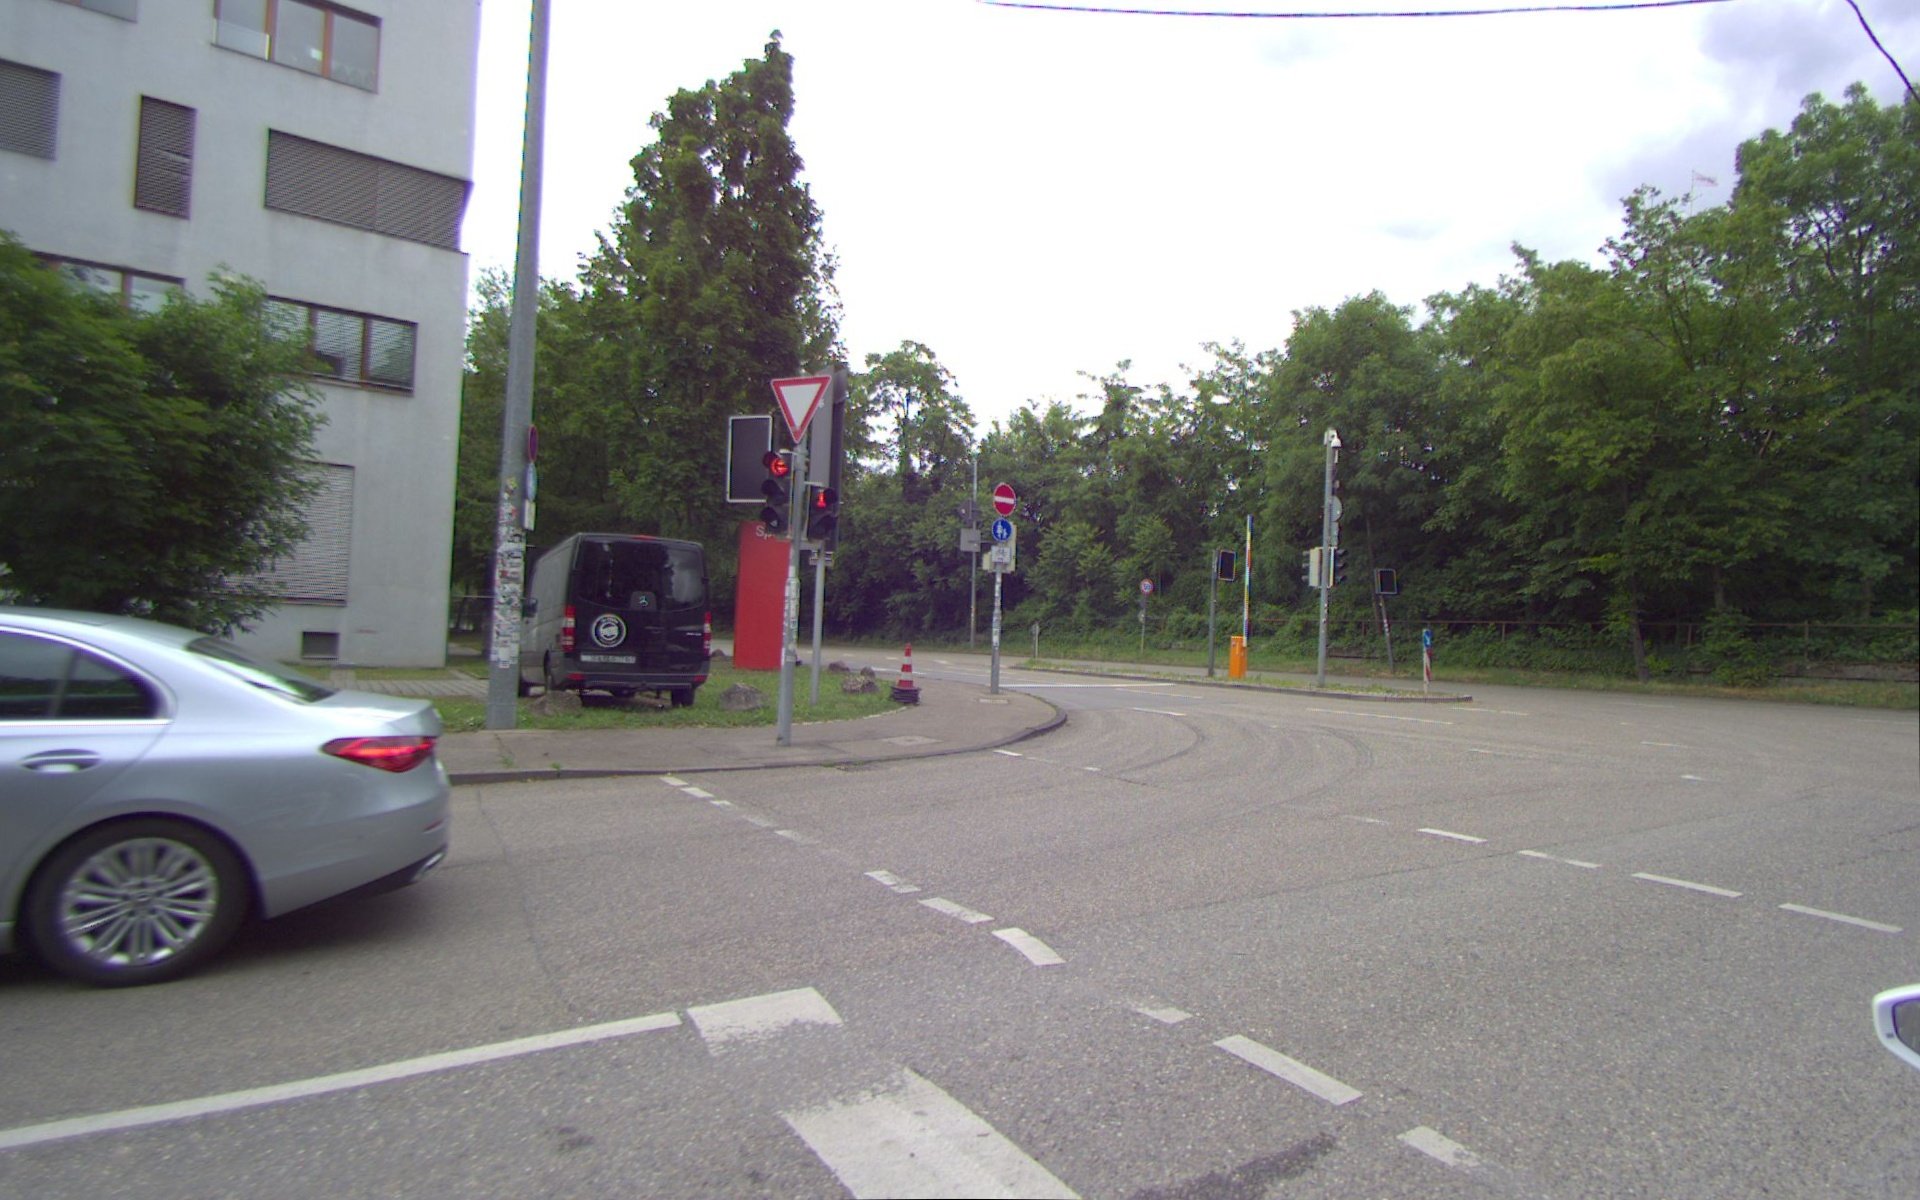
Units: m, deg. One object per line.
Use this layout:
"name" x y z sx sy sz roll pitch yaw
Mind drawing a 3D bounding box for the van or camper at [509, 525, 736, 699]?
"van or camper" -5.333 0.323 15.271 2.145 2.137 5.600 3 -4 -30

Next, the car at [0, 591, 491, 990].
"car" -4.328 0.662 4.030 4.317 1.416 1.690 3 -2 -29

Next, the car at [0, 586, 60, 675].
"car" -18.895 0.504 19.153 1.838 1.479 4.040 3 0 -32
